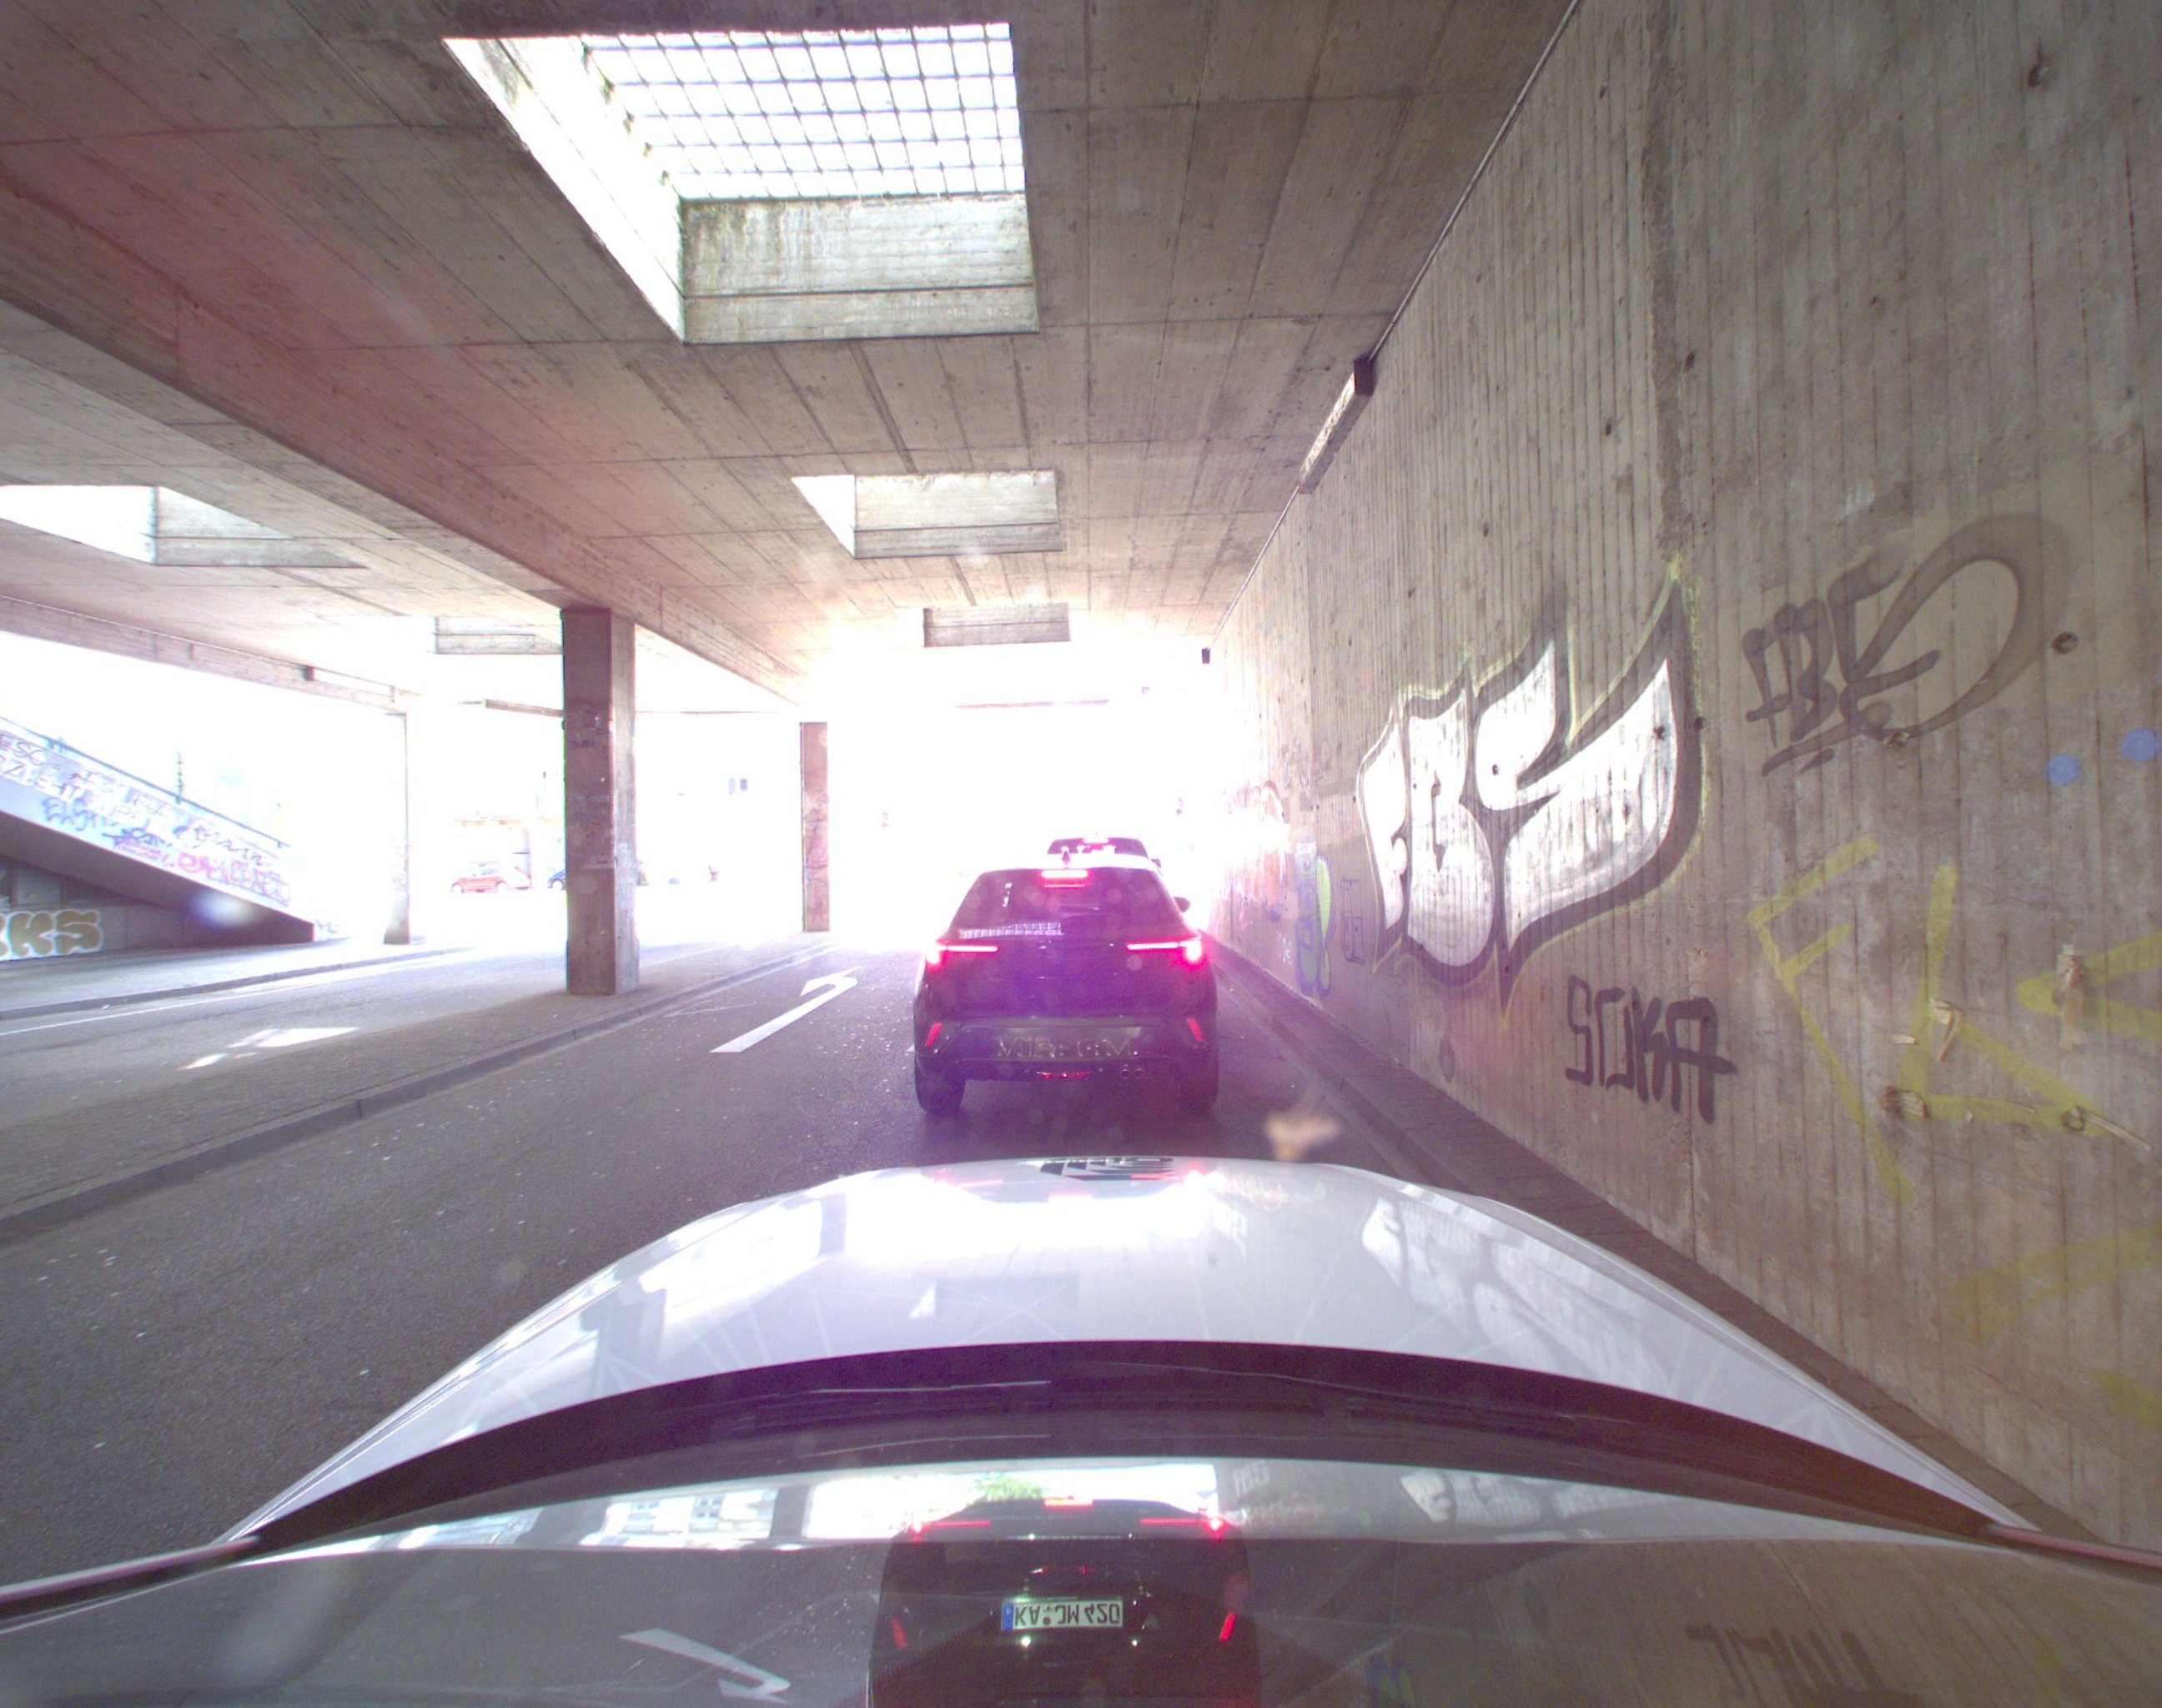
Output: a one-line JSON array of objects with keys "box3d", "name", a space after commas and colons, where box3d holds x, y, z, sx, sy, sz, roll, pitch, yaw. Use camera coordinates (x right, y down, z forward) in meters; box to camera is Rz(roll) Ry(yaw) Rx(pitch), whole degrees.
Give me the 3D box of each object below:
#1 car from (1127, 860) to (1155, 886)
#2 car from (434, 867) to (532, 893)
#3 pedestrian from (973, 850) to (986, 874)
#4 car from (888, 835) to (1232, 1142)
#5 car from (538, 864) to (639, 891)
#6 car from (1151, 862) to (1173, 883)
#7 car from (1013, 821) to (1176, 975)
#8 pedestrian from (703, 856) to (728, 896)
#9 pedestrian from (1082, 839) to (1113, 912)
[{"box3d": [4.757, 1.467, 64.341, 1.983, 1.970, 4.172, 0, -1, 7], "name": "car"}, {"box3d": [-33.100, 1.419, 45.169, 3.975, 1.409, 1.925, 0, -1, -1], "name": "car"}, {"box3d": [-8.596, 0.683, 68.968, 0.887, 2.088, 0.810, 0, -1, 9], "name": "pedestrian"}, {"box3d": [-0.044, 0.657, 6.179, 1.758, 1.571, 4.002, 0, 1, 2], "name": "car"}, {"box3d": [-27.299, 1.274, 45.237, 4.393, 1.409, 1.925, 0, -1, -1], "name": "car"}, {"box3d": [7.604, 1.701, 76.268, 1.983, 1.970, 4.172, 0, -1, 7], "name": "car"}, {"box3d": [0.231, 0.548, 12.153, 1.986, 1.871, 4.002, -2, 0, 2], "name": "car"}, {"box3d": [-15.158, 0.908, 33.806, 0.669, 1.637, 0.741, 0, -1, 1], "name": "pedestrian"}, {"box3d": [0.407, 0.524, 19.957, 0.728, 1.734, 0.874, 0, -1, 1], "name": "pedestrian"}]
